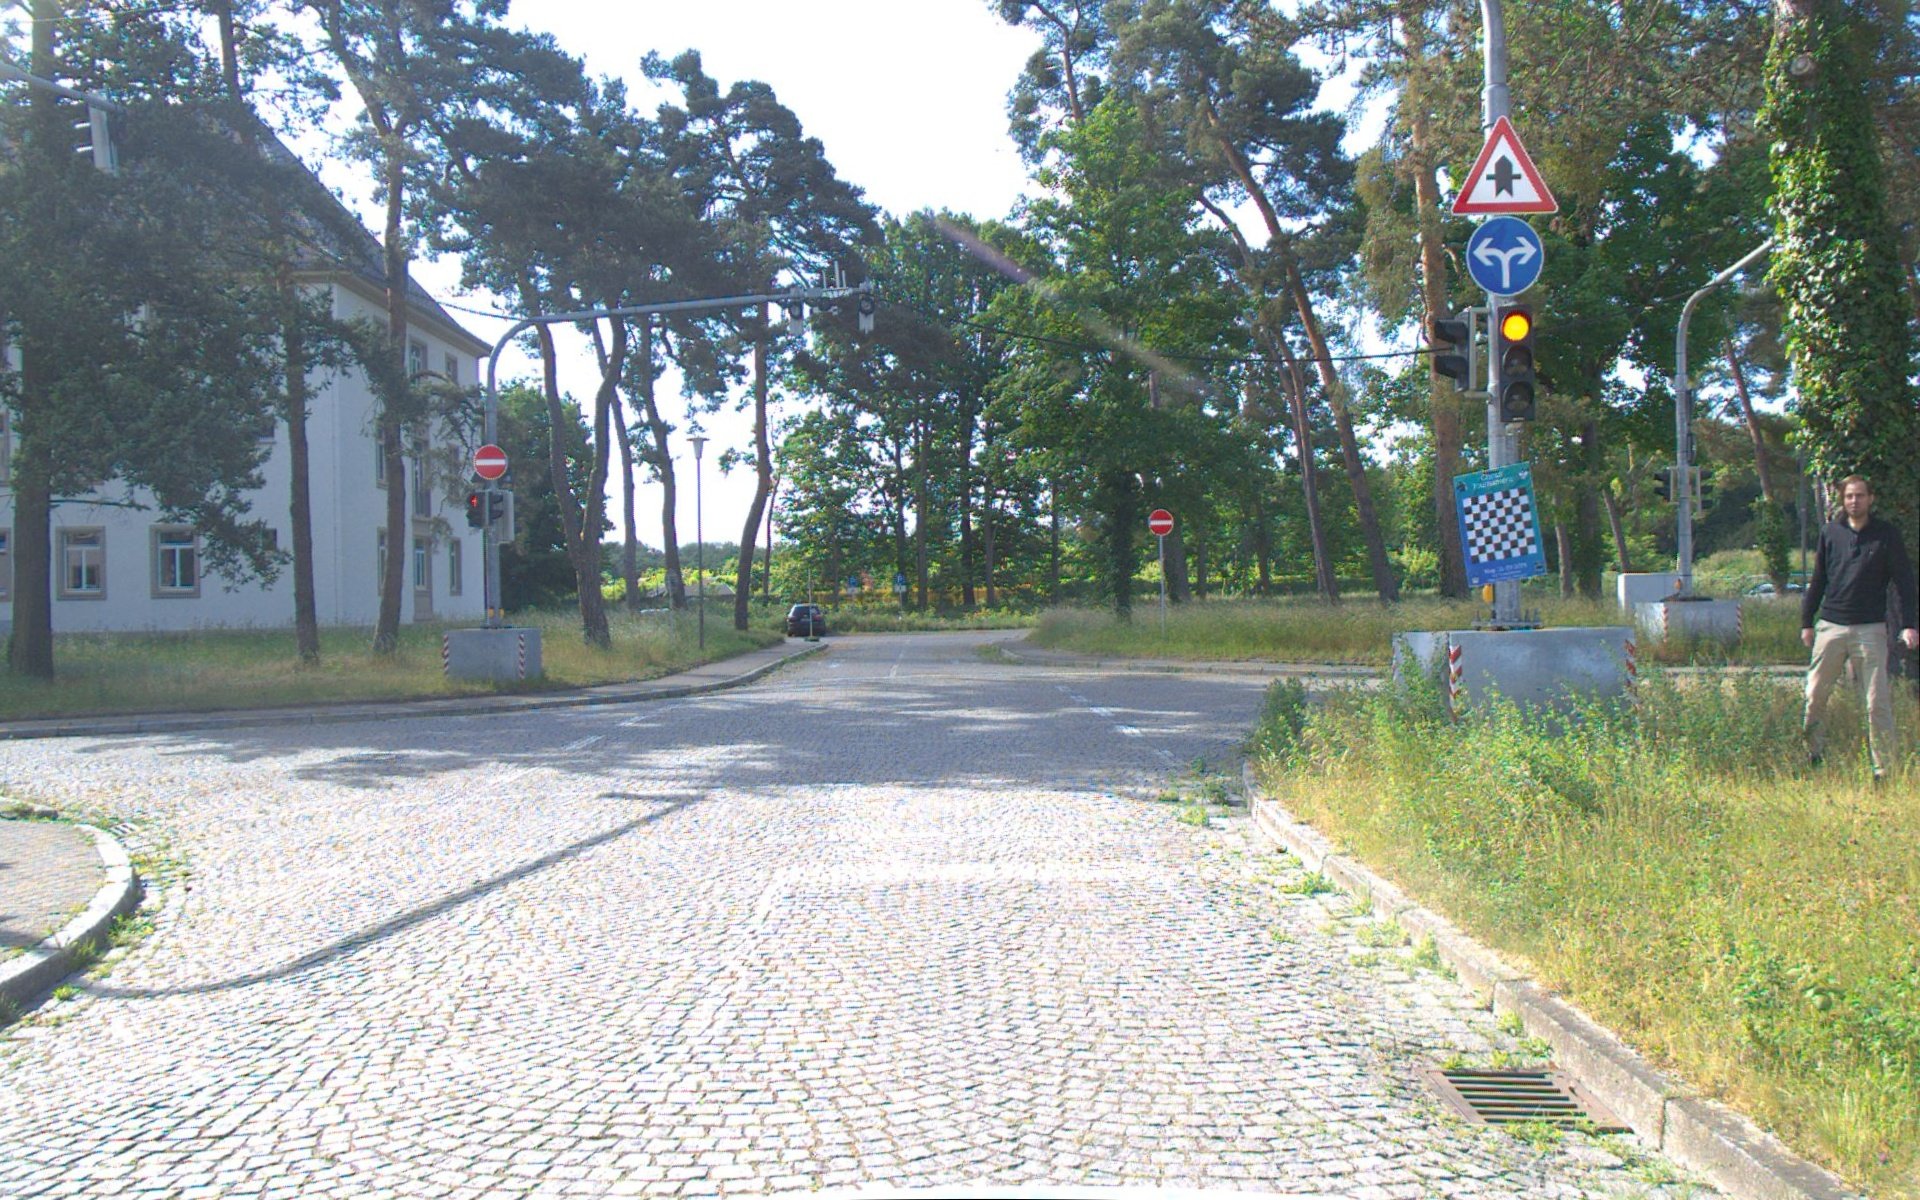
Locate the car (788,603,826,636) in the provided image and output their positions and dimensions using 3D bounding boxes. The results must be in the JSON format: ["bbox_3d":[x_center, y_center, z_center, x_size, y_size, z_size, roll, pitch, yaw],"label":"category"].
[{"bbox_3d":[-7.425,0.920,80.277,1.676,1.522,3.916,-2,0,-4],"label":"car"}]

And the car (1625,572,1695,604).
[{"bbox_3d":[36.947,-0.605,87.379,1.790,1.609,4.161,-2,0,-1],"label":"car"}]

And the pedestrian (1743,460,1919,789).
[{"bbox_3d":[5.361,0.133,9.781,1.147,1.827,1.060,-2,0,34],"label":"pedestrian"}]
